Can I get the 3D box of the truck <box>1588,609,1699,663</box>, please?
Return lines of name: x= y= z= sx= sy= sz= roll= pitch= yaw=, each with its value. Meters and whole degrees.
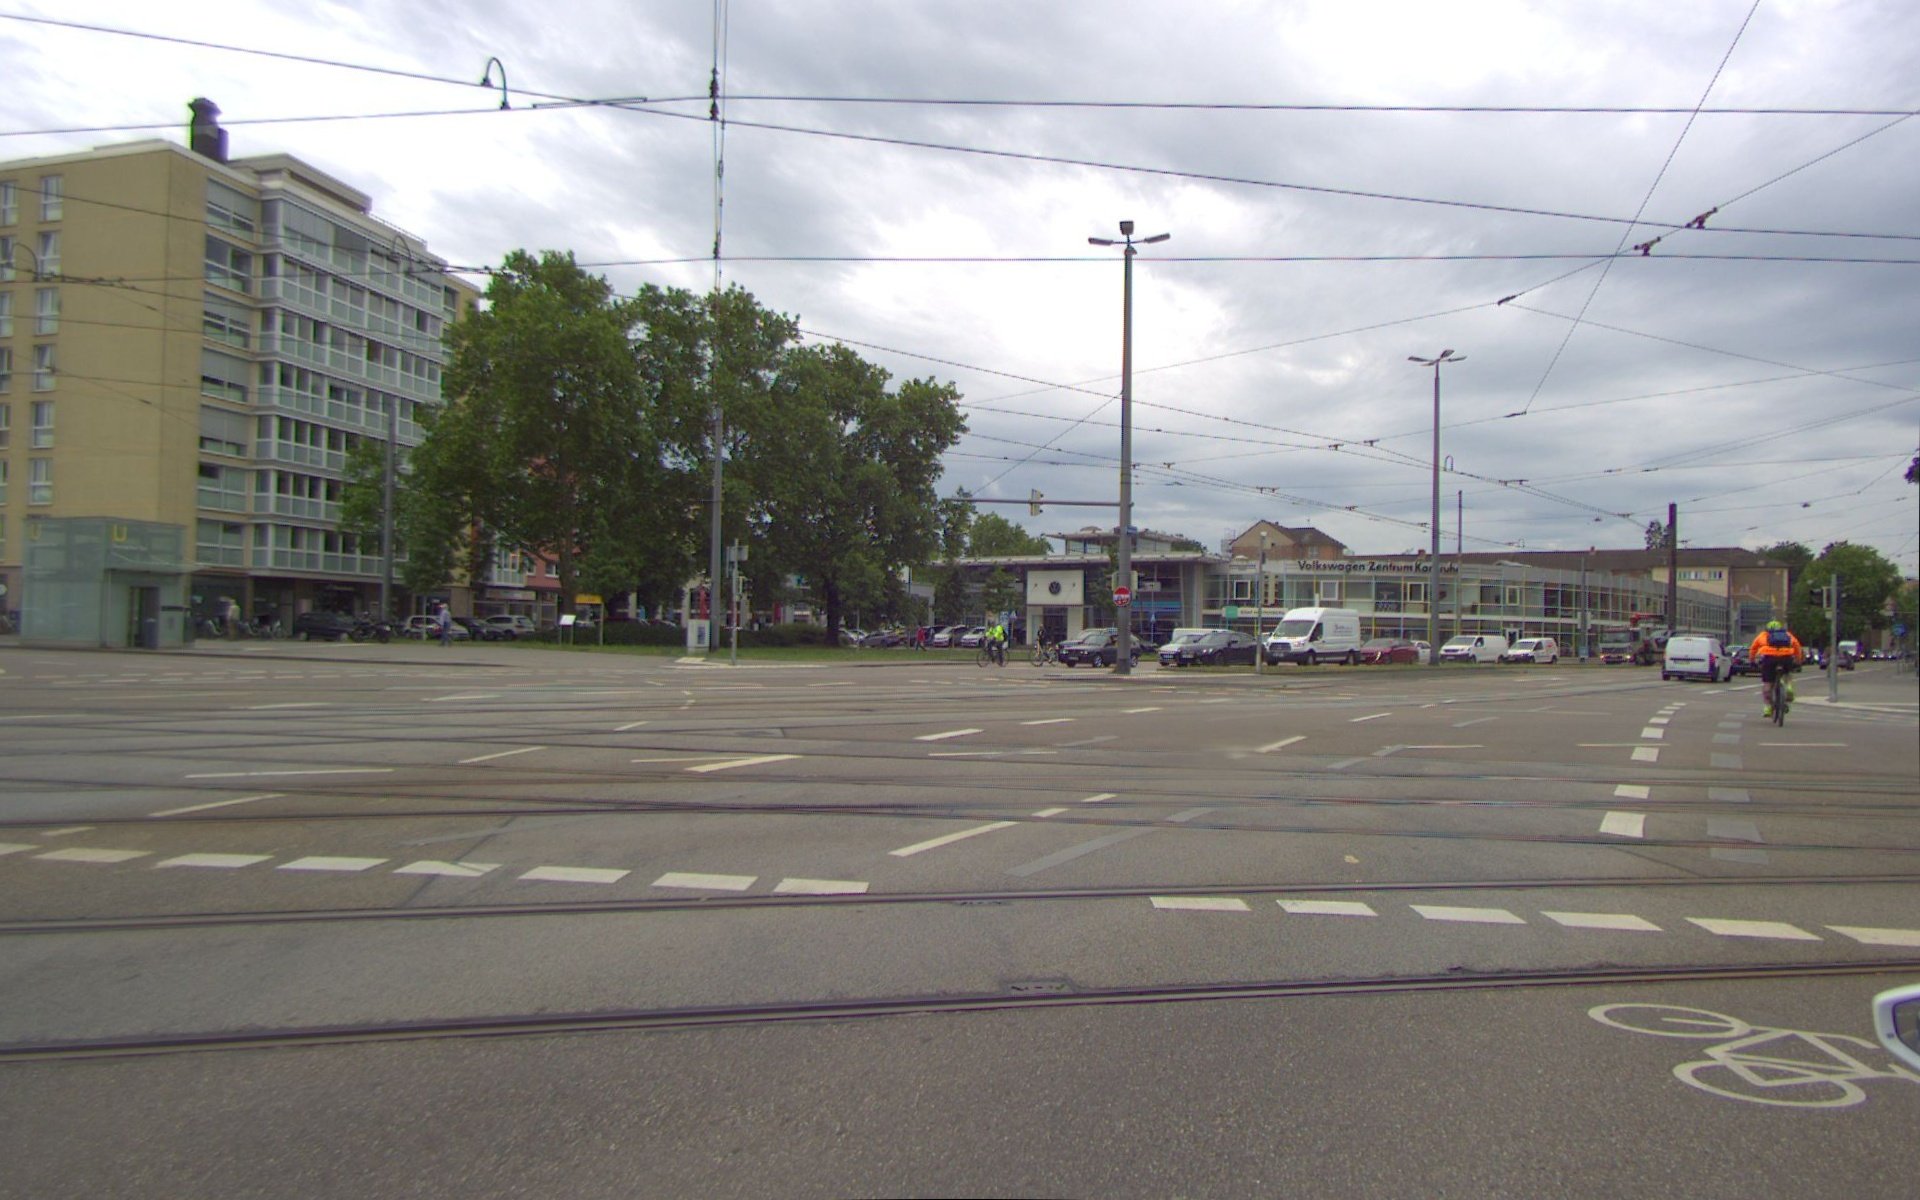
truck: x=49.538 y=2.632 z=72.710 sx=9.111 sy=3.596 sz=2.782 roll=3 pitch=-1 yaw=-29

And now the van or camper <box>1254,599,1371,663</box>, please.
van or camper: x=15.876 y=1.442 z=45.024 sx=6.010 sy=2.645 sz=2.392 roll=4 pitch=-1 yaw=-43

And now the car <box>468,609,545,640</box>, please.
car: x=-28.312 y=1.507 z=62.761 sx=3.919 sy=1.728 sz=2.001 roll=2 pitch=-1 yaw=10

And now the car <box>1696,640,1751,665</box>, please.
car: x=60.363 y=4.153 z=79.381 sx=4.473 sy=1.863 sz=1.983 roll=2 pitch=-2 yaw=-32

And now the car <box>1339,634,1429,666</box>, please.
car: x=20.910 y=2.468 z=49.462 sx=4.757 sy=1.439 sz=1.979 roll=2 pitch=-2 yaw=-37

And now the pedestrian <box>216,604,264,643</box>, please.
pedestrian: x=-31.748 y=1.035 z=44.291 sx=1.304 sy=1.661 sz=1.041 roll=1 pitch=-1 yaw=11

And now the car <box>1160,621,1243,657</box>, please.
car: x=15.214 y=2.436 z=63.439 sx=2.106 sy=2.040 sz=4.720 roll=3 pitch=-1 yaw=-43

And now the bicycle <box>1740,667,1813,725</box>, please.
bicycle: x=13.861 y=1.605 z=17.090 sx=0.548 sy=0.859 sz=2.071 roll=1 pitch=-2 yaw=27

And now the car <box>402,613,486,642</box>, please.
car: x=-29.906 y=1.579 z=58.276 sx=3.919 sy=1.572 sz=2.002 roll=1 pitch=-1 yaw=11

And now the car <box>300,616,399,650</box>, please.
car: x=-30.892 y=1.675 z=50.892 sx=3.919 sy=1.572 sz=2.002 roll=1 pitch=-1 yaw=11

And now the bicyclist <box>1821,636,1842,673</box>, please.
bicyclist: x=41.521 y=2.606 z=47.845 sx=0.678 sy=1.730 sz=0.796 roll=0 pitch=-2 yaw=35

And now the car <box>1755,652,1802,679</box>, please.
car: x=50.426 y=4.027 z=61.842 sx=3.974 sy=1.528 sz=1.834 roll=4 pitch=-1 yaw=-45

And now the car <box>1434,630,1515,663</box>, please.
car: x=31.377 y=2.841 z=61.203 sx=5.392 sy=1.881 sz=2.143 roll=2 pitch=-2 yaw=-34

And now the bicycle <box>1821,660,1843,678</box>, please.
bicycle: x=41.507 y=3.286 z=47.835 sx=0.610 sy=0.804 sz=1.587 roll=0 pitch=-2 yaw=35

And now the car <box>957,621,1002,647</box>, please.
car: x=1.683 y=2.951 z=86.950 sx=1.967 sy=2.040 sz=3.988 roll=2 pitch=-1 yaw=35

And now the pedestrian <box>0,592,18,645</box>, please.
pedestrian: x=-33.261 y=0.611 z=34.284 sx=1.019 sy=1.808 sz=1.181 roll=1 pitch=-1 yaw=10

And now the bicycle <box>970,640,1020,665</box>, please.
bicycle: x=1.388 y=2.076 z=39.716 sx=2.204 sy=0.942 sz=0.514 roll=2 pitch=-1 yaw=-40

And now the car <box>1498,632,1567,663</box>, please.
car: x=37.142 y=3.090 z=65.148 sx=4.473 sy=1.863 sz=1.983 roll=2 pitch=-2 yaw=-32

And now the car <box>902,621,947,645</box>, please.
car: x=-3.127 y=2.958 z=89.762 sx=1.967 sy=2.040 sz=3.988 roll=2 pitch=-1 yaw=35

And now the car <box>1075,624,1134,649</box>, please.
car: x=8.951 y=2.262 z=62.052 sx=3.709 sy=1.439 sz=1.621 roll=3 pitch=-2 yaw=-41

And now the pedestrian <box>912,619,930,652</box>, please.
pedestrian: x=-2.376 y=2.171 z=61.261 sx=0.852 sy=1.925 sz=0.704 roll=3 pitch=-1 yaw=-30

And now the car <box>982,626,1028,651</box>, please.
car: x=3.839 y=3.277 z=85.143 sx=1.967 sy=2.040 sz=3.988 roll=2 pitch=-1 yaw=35

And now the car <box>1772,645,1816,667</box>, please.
car: x=74.242 y=4.952 z=89.407 sx=4.481 sy=1.863 sz=1.979 roll=2 pitch=-2 yaw=-37

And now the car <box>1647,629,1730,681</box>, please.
car: x=29.709 y=2.218 z=40.925 sx=4.100 sy=1.966 sz=1.895 roll=3 pitch=-2 yaw=-42

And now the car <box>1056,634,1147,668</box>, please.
car: x=5.702 y=2.033 z=40.275 sx=3.713 sy=1.263 sz=1.670 roll=3 pitch=-2 yaw=-44

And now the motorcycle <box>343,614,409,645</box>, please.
motorcycle: x=-24.792 y=1.232 z=42.664 sx=2.496 sy=1.194 sz=0.865 roll=2 pitch=-1 yaw=15

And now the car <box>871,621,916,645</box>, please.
car: x=-6.023 y=3.052 z=91.587 sx=1.967 sy=2.040 sz=3.988 roll=2 pitch=-1 yaw=35

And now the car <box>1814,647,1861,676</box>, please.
car: x=64.942 y=4.543 z=74.335 sx=3.966 sy=2.040 sz=1.978 roll=3 pitch=-1 yaw=-39

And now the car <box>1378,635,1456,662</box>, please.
car: x=26.256 y=2.802 z=57.678 sx=4.702 sy=1.439 sz=1.981 roll=2 pitch=-2 yaw=-34

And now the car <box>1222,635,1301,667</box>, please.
car: x=14.458 y=2.455 z=48.143 sx=4.237 sy=1.439 sz=1.621 roll=3 pitch=-2 yaw=-41

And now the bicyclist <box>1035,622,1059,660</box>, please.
bicyclist: x=3.617 y=1.693 z=41.610 sx=0.849 sy=1.528 sz=0.561 roll=1 pitch=0 yaw=-39

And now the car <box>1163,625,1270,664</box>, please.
car: x=10.260 y=1.774 z=39.969 sx=4.631 sy=1.439 sz=1.974 roll=3 pitch=-2 yaw=-44

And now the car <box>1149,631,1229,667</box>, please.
car: x=10.008 y=2.132 z=43.802 sx=3.713 sy=1.439 sz=1.619 roll=3 pitch=-2 yaw=-44

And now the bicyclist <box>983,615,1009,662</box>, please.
bicyclist: x=1.431 y=1.511 z=39.601 sx=0.791 sy=1.827 sz=0.622 roll=2 pitch=-1 yaw=-39

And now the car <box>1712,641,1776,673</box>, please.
car: x=38.956 y=2.814 z=49.879 sx=3.973 sy=1.439 sz=1.974 roll=3 pitch=-2 yaw=-44

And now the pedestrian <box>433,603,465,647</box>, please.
pedestrian: x=-20.978 y=1.019 z=41.247 sx=0.897 sy=1.742 sz=0.707 roll=2 pitch=-1 yaw=2

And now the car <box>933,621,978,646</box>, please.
car: x=-0.405 y=2.935 z=88.303 sx=1.967 sy=2.040 sz=3.988 roll=2 pitch=-1 yaw=35

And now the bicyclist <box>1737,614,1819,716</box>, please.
bicyclist: x=13.903 y=1.082 z=17.105 sx=0.814 sy=1.642 sz=1.320 roll=1 pitch=-2 yaw=27

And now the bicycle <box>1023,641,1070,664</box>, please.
bicycle: x=3.594 y=2.172 z=41.605 sx=2.204 sy=0.938 sz=0.514 roll=2 pitch=-1 yaw=-40
